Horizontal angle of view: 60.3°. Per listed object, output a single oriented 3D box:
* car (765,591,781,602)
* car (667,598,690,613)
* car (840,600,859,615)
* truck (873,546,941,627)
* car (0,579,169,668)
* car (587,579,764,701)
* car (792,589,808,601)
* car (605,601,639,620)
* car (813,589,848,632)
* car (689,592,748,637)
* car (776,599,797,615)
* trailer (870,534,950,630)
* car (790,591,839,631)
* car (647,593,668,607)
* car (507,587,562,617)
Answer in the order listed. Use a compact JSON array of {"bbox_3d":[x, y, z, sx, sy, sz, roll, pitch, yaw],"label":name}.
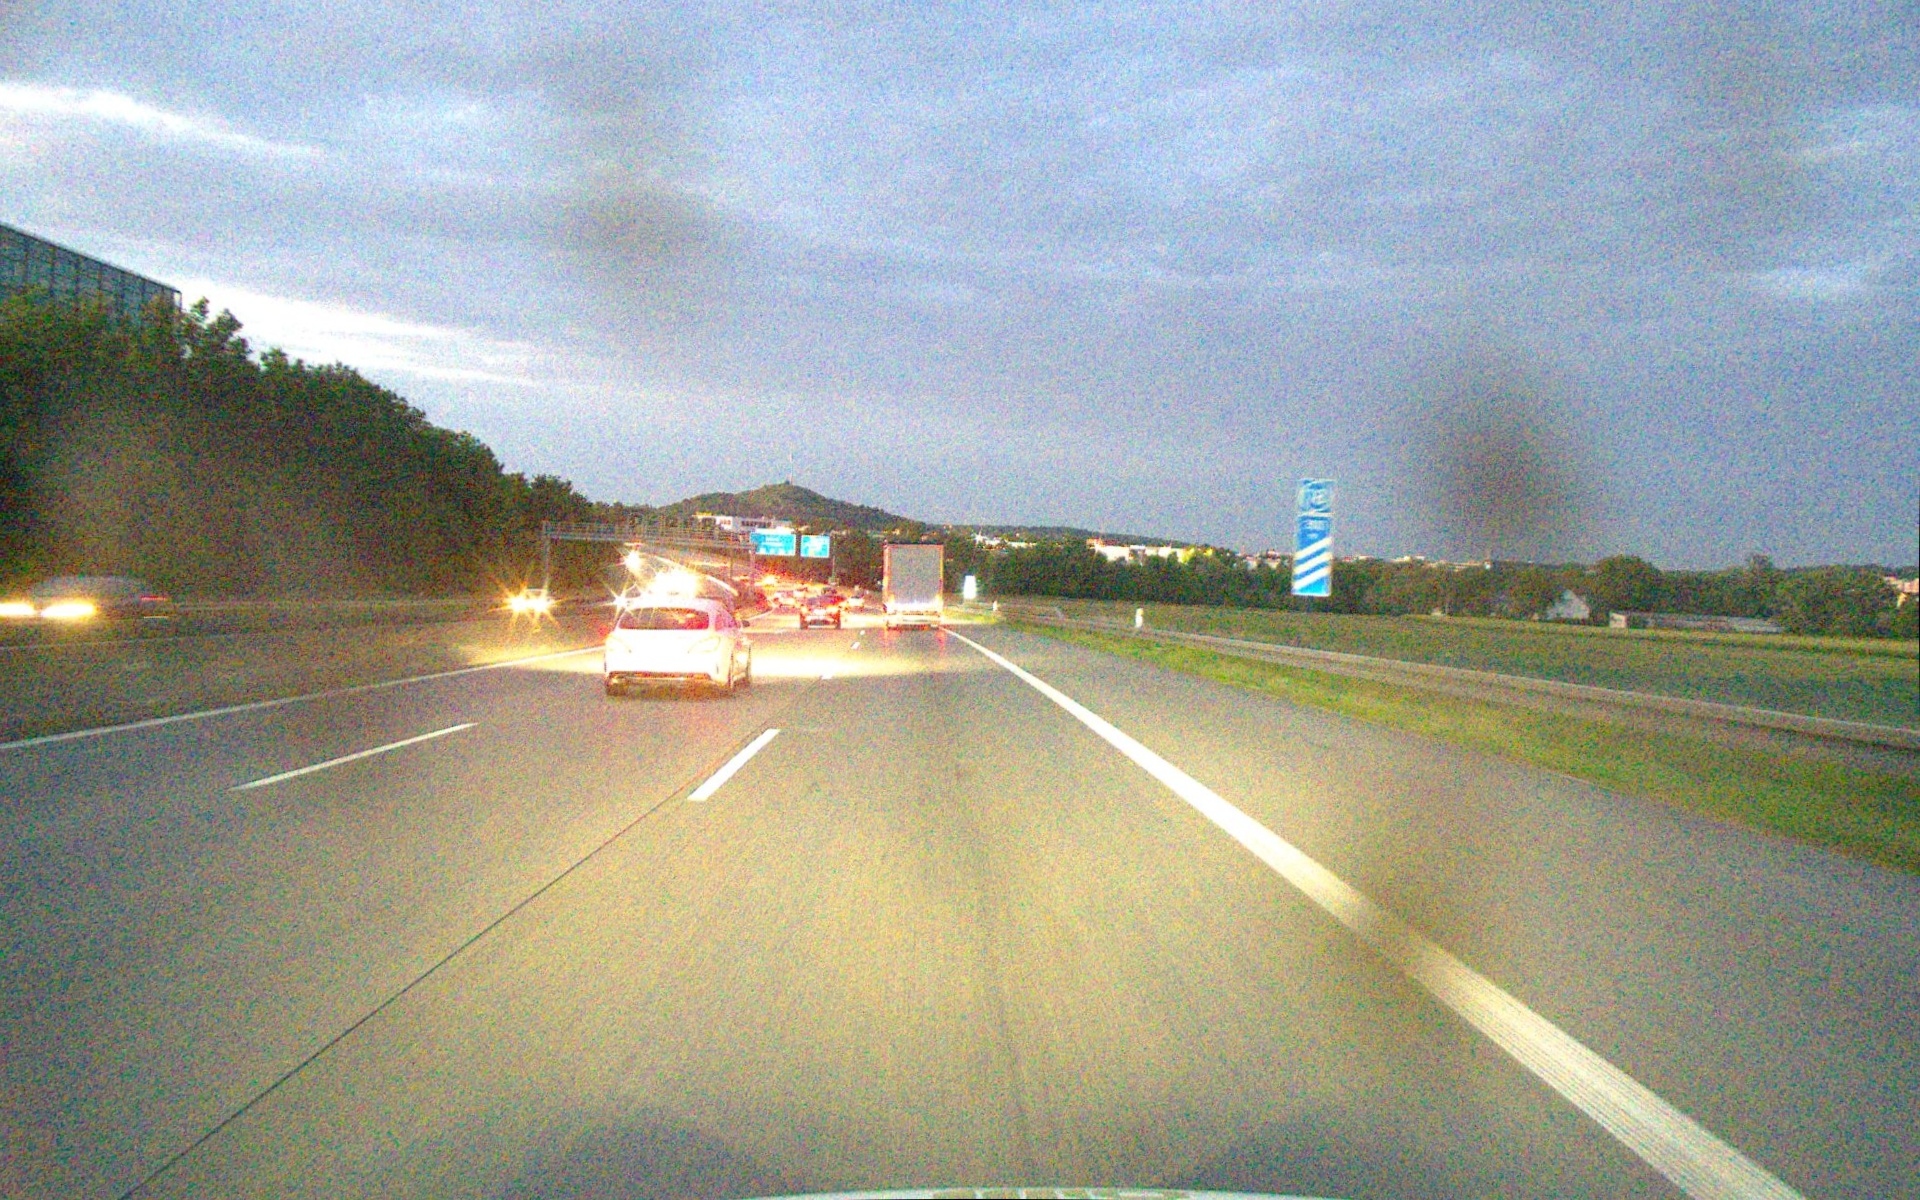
[{"bbox_3d":[-25.471,-0.443,224.661,1.957,1.494,3.991,1,0,-9],"label":"car"},{"bbox_3d":[-30.239,0.587,177.652,1.954,1.532,4.503,1,0,-3],"label":"car"},{"bbox_3d":[-11.791,0.822,175.884,1.955,1.561,3.996,1,0,-5],"label":"car"},{"bbox_3d":[-2.888,-0.671,88.821,3.479,4.163,6.147,1,-1,-3],"label":"truck"},{"bbox_3d":[-19.769,0.493,36.915,1.953,1.822,4.838,1,0,-2],"label":"car"},{"bbox_3d":[-4.248,0.568,25.430,1.867,1.642,4.803,1,0,0],"label":"car"},{"bbox_3d":[-23.689,-0.725,244.522,1.958,1.650,3.989,1,0,-11],"label":"car"},{"bbox_3d":[-26.067,0.791,127.645,1.798,1.359,4.907,1,0,-3],"label":"car"},{"bbox_3d":[-7.490,0.604,95.772,1.954,2.422,3.996,1,0,-5],"label":"car"},{"bbox_3d":[-9.197,0.551,63.313,1.726,1.602,4.574,1,0,-3],"label":"car"},{"bbox_3d":[-18.252,0.763,174.027,1.956,1.650,3.993,1,0,-8],"label":"car"},{"bbox_3d":[-2.558,-0.738,81.374,3.479,4.188,15.054,1,-1,-3],"label":"trailer"},{"bbox_3d":[-6.597,0.475,75.212,2.024,1.715,4.573,1,0,-3],"label":"car"},{"bbox_3d":[-36.272,0.009,198.313,1.954,1.560,5.002,1,0,-4],"label":"car"},{"bbox_3d":[-22.393,0.110,87.168,1.953,1.478,3.833,1,0,-2],"label":"car"}]
